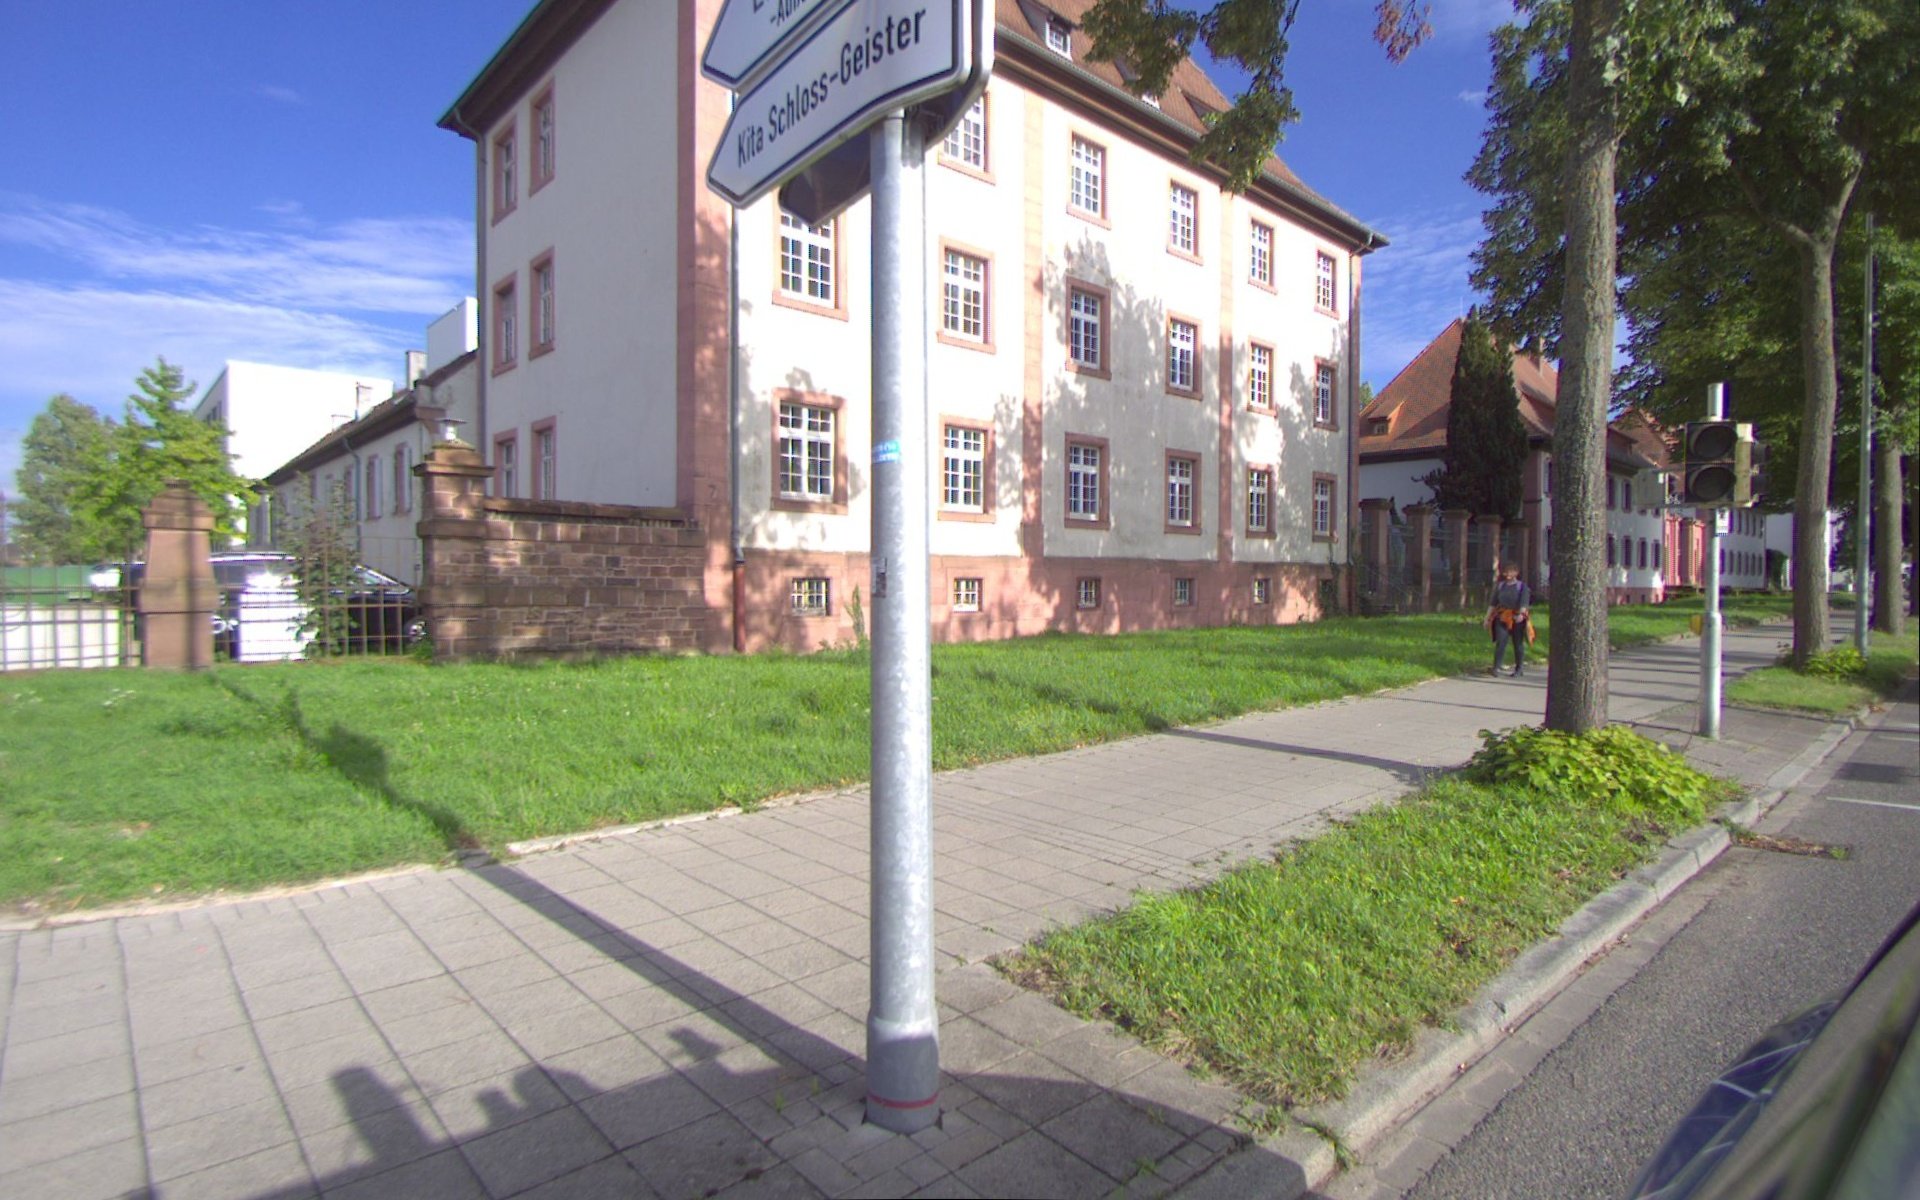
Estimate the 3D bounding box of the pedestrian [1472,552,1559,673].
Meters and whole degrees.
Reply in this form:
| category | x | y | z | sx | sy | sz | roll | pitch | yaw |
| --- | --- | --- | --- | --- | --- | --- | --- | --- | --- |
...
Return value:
| category | x | y | z | sx | sy | sz | roll | pitch | yaw |
| --- | --- | --- | --- | --- | --- | --- | --- | --- | --- |
| pedestrian | 7.744 | 0.149 | 14.107 | 0.756 | 1.609 | 0.815 | -1 | 4 | -44 |

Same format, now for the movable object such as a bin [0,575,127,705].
| category | x | y | z | sx | sy | sz | roll | pitch | yaw |
| --- | --- | --- | --- | --- | --- | --- | --- | --- | --- |
| movable object such as a bin | -11.236 | 0.446 | 12.327 | 1.413 | 1.477 | 1.520 | 0 | 1 | 44 |

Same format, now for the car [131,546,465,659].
| category | x | y | z | sx | sy | sz | roll | pitch | yaw |
| --- | --- | --- | --- | --- | --- | --- | --- | --- | --- |
| car | -10.849 | -0.035 | 16.756 | 4.426 | 1.628 | 1.998 | -1 | 3 | -40 |
